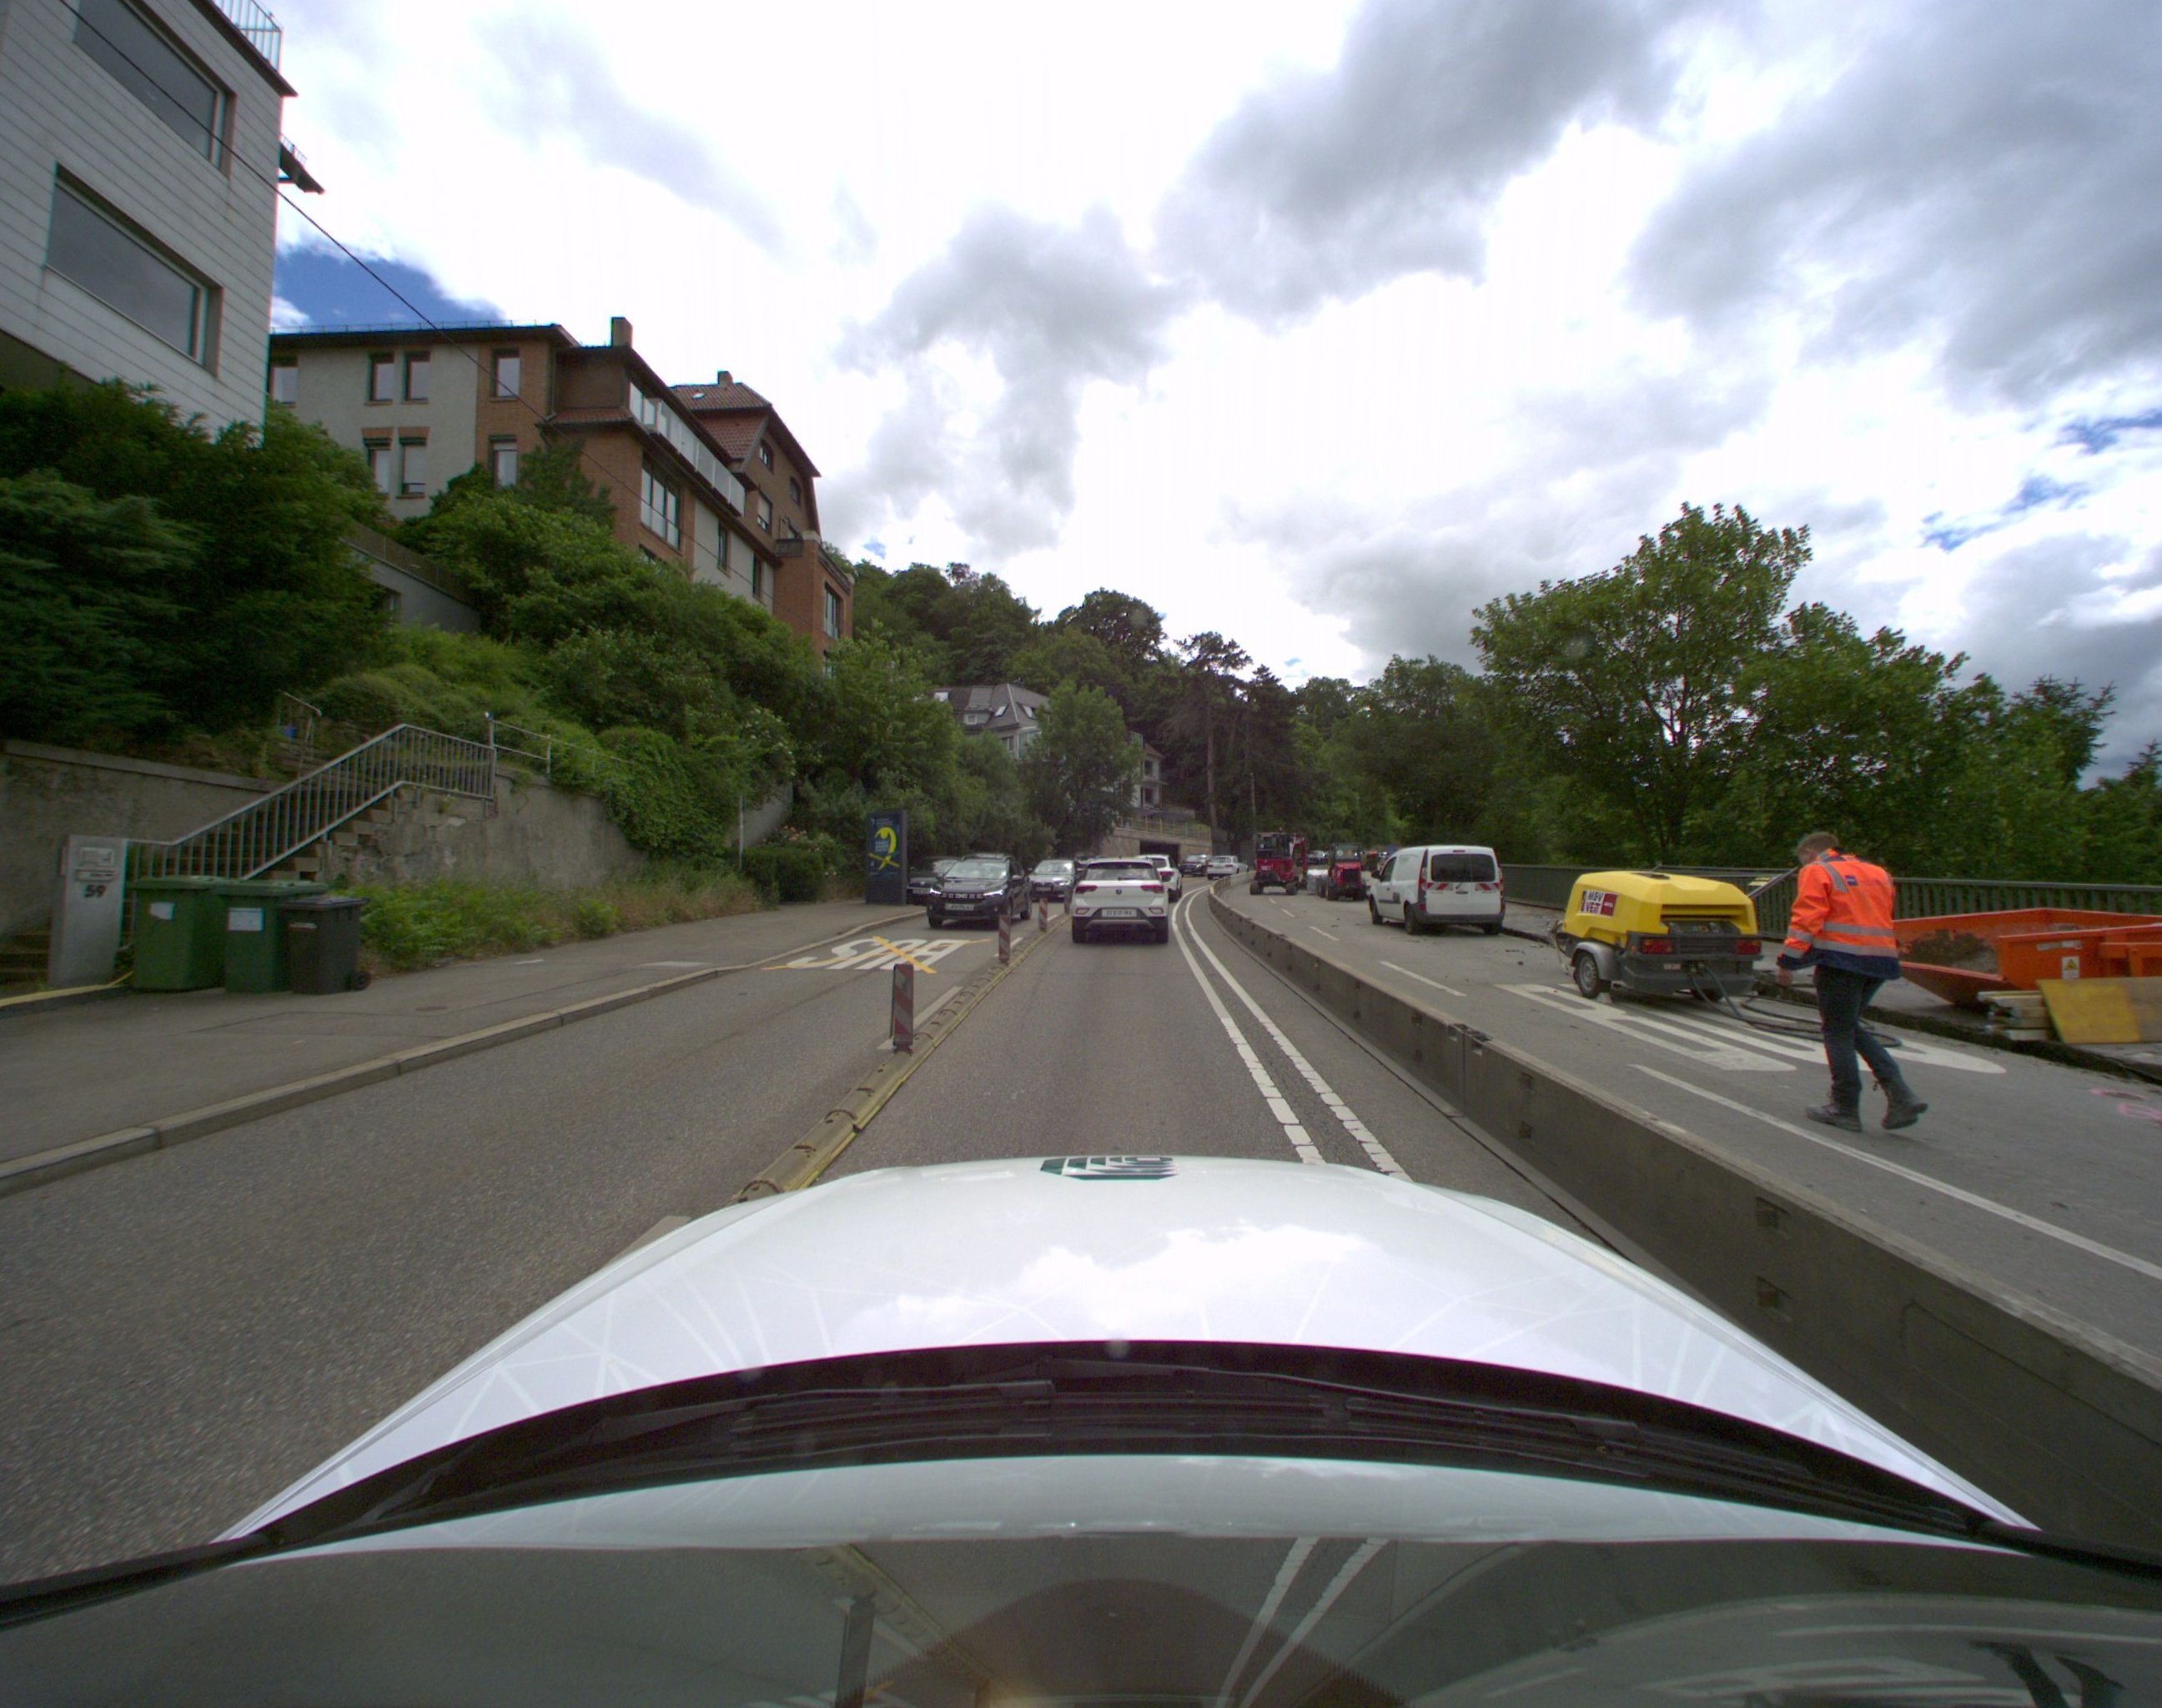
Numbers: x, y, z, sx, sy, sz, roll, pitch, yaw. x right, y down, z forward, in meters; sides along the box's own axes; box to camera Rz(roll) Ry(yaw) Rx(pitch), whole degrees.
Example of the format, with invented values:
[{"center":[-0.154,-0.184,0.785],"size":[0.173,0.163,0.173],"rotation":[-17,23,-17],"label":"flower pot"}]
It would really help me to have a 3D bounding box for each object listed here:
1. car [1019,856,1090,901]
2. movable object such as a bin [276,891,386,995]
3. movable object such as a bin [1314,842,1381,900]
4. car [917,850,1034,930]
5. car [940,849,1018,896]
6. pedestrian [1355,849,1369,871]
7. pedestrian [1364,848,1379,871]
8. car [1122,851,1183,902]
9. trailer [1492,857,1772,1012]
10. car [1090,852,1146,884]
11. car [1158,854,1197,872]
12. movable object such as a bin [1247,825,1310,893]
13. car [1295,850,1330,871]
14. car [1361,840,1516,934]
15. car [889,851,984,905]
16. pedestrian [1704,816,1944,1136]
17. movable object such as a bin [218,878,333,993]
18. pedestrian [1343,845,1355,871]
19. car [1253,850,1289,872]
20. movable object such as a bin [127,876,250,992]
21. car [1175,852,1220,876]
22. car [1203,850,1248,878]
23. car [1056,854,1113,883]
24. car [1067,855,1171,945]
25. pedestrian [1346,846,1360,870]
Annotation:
[{"center":[-0.872,0.840,29.390],"size":[1.785,1.482,4.338],"rotation":[1,0,8],"label":"car"},{"center":[-7.311,0.853,7.964],"size":[0.466,0.934,0.624],"rotation":[1,0,1],"label":"movable object such as a bin"},{"center":[9.498,0.573,29.318],"size":[1.691,1.943,4.175],"rotation":[0,0,9],"label":"movable object such as a bin"},{"center":[-2.287,0.738,18.709],"size":[1.806,1.622,3.825],"rotation":[1,0,6],"label":"car"},{"center":[-3.765,0.651,30.902],"size":[1.676,1.606,4.199],"rotation":[2,0,11],"label":"car"},{"center":[20.621,0.437,59.793],"size":[0.775,1.608,0.671],"rotation":[-1,0,39],"label":"pedestrian"},{"center":[20.974,0.408,58.832],"size":[0.775,1.688,0.790],"rotation":[-1,0,39],"label":"pedestrian"},{"center":[2.641,0.749,29.297],"size":[1.799,1.663,4.011],"rotation":[-2,0,10],"label":"car"},{"center":[6.239,0.782,9.696],"size":[1.281,1.475,3.642],"rotation":[0,0,8],"label":"trailer"},{"center":[1.987,0.693,42.004],"size":[1.781,1.446,4.383],"rotation":[0,2,18],"label":"car"},{"center":[8.299,0.790,69.780],"size":[1.764,1.453,3.725],"rotation":[0,-2,34],"label":"car"},{"center":[8.412,0.184,34.361],"size":[2.194,2.663,4.968],"rotation":[0,0,18],"label":"movable object such as a bin"},{"center":[19.742,0.534,69.276],"size":[1.792,1.663,4.025],"rotation":[-2,0,32],"label":"car"},{"center":[7.521,0.635,17.610],"size":[1.823,1.779,4.275],"rotation":[0,0,6],"label":"car"},{"center":[-4.445,0.704,25.613],"size":[1.785,1.510,4.008],"rotation":[2,0,7],"label":"car"},{"center":[4.307,0.652,4.790],"size":[0.643,1.701,0.850],"rotation":[1,0,1],"label":"pedestrian"},{"center":[-7.833,0.771,7.944],"size":[0.466,1.053,0.624],"rotation":[1,0,1],"label":"movable object such as a bin"},{"center":[19.706,0.297,59.900],"size":[0.686,1.906,0.828],"rotation":[-1,0,11],"label":"pedestrian"},{"center":[14.153,0.490,60.495],"size":[1.778,1.510,4.023],"rotation":[-2,0,25],"label":"car"},{"center":[-8.587,0.751,7.857],"size":[0.466,1.053,0.624],"rotation":[1,0,1],"label":"movable object such as a bin"},{"center":[8.154,0.667,56.577],"size":[1.751,1.568,4.255],"rotation":[0,0,28],"label":"car"},{"center":[9.018,0.589,50.537],"size":[1.793,1.663,4.022],"rotation":[-2,0,24],"label":"car"},{"center":[0.248,0.763,45.609],"size":[1.722,1.451,4.706],"rotation":[2,1,19],"label":"car"},{"center":[0.742,0.804,16.185],"size":[1.802,1.531,4.002],"rotation":[0,0,2],"label":"car"},{"center":[20.642,0.296,61.804],"size":[0.868,1.822,0.883],"rotation":[-1,0,23],"label":"pedestrian"}]
